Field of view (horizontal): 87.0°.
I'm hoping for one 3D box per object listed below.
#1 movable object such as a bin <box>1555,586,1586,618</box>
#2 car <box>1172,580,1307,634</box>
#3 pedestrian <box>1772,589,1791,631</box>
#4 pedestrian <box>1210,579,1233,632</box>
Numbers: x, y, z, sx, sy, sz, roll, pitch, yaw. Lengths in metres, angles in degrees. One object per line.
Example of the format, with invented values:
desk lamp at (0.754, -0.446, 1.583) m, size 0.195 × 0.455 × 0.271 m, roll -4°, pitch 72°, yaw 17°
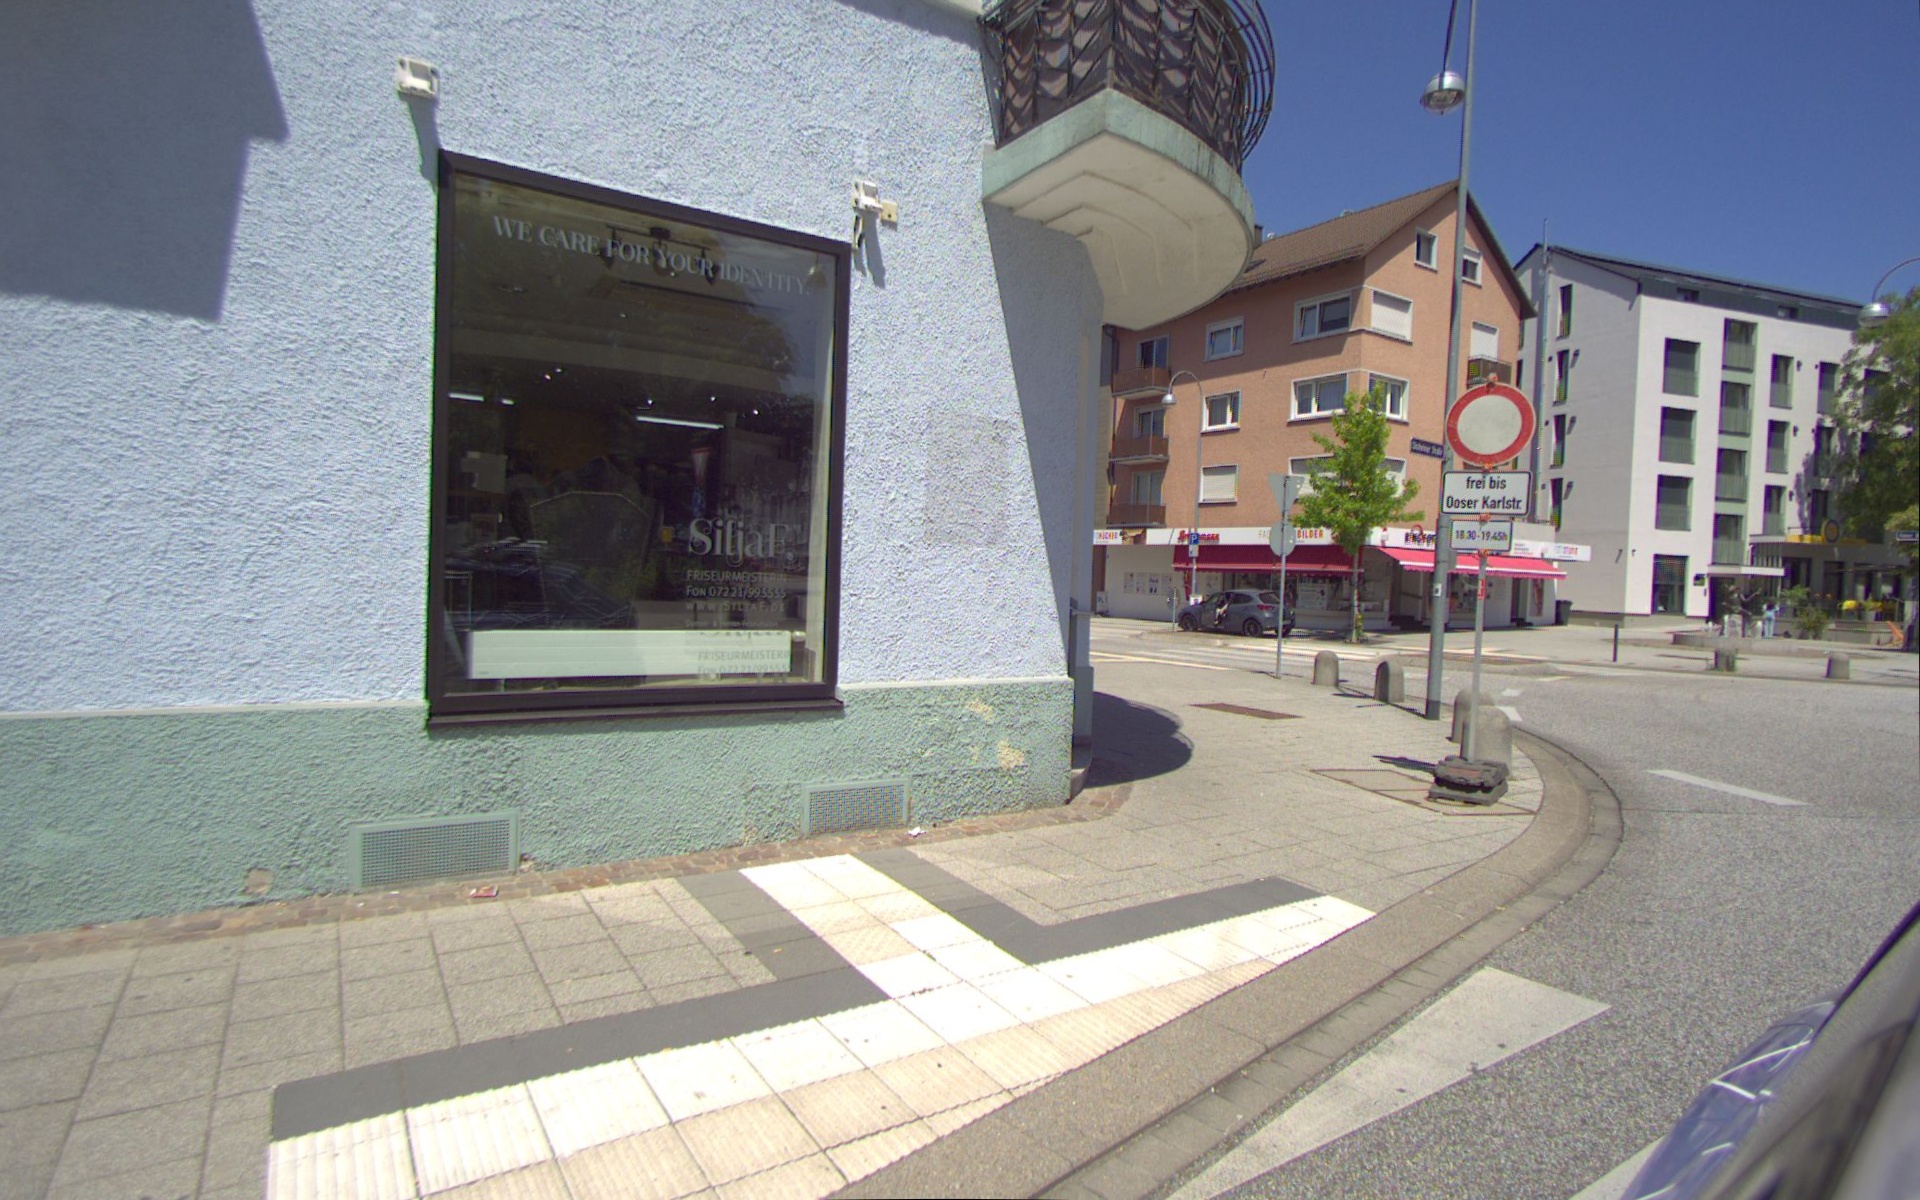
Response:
movable object such as a bin at (25.065, 0.078, 41.537) m, size 0.820 × 1.268 × 0.748 m, roll 1°, pitch 1°, yaw -31°
car at (8.908, 0.178, 32.488) m, size 1.641 × 1.504 × 4.061 m, roll -2°, pitch 3°, yaw -36°
pedestrian at (32.936, 0.406, 40.574) m, size 0.442 × 1.639 × 0.450 m, roll 1°, pitch 1°, yaw -35°
pedestrian at (8.258, 0.169, 31.937) m, size 0.550 × 1.630 × 0.733 m, roll 2°, pitch 1°, yaw 7°
